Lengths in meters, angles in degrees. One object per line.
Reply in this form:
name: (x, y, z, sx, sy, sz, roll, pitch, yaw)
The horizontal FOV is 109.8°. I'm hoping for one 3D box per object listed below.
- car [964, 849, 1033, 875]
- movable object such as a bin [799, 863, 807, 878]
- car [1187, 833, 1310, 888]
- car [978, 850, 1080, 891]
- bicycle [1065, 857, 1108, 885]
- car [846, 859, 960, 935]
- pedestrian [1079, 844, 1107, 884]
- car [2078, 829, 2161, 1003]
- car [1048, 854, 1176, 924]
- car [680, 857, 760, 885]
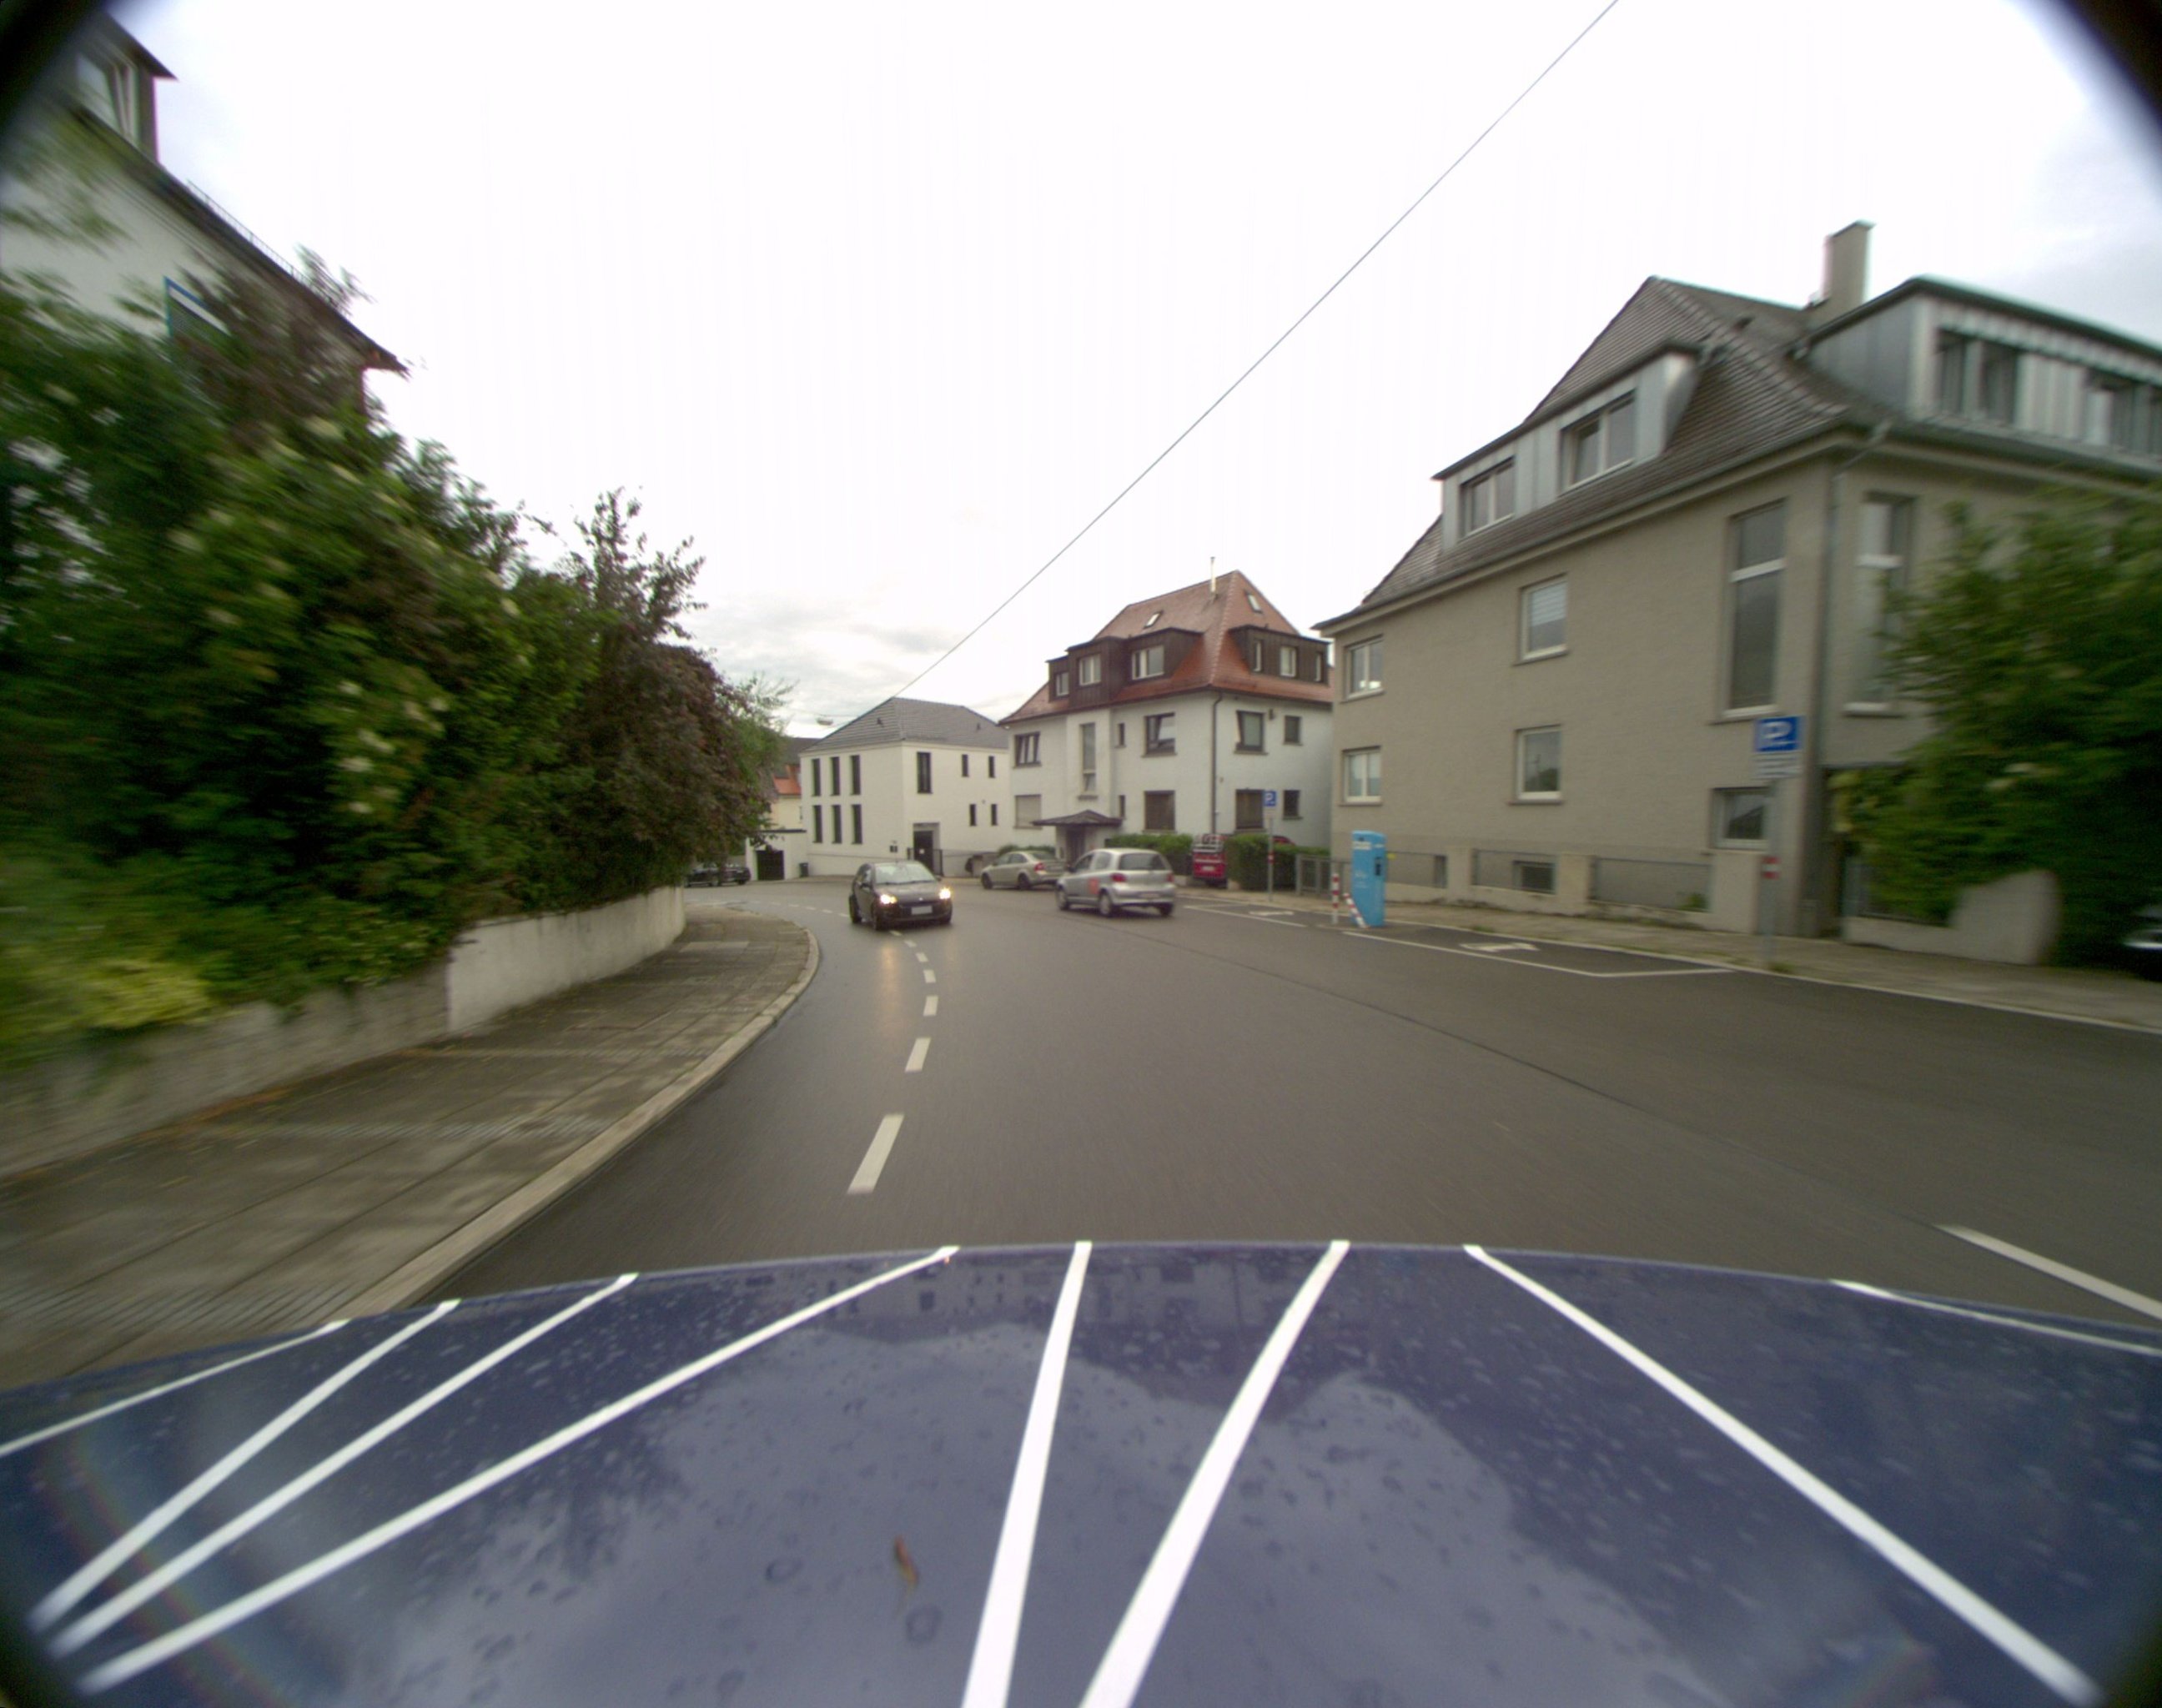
car: (-4.886, 0.488, 45.343, 1.737, 1.344, 4.010, 2, -1, 39)
movable object such as a bin: (-17.529, 1.053, 47.899, 0.282, 0.907, 0.372, -1, 1, 31)
car: (5.947, 0.258, 26.846, 4.007, 1.812, 1.995, 1, -1, -33)
car: (-2.110, 0.616, 29.619, 1.845, 1.417, 4.218, -3, 1, -39)
bicycle: (0.197, 0.662, 30.131, 0.458, 1.061, 1.916, -6, 3, -42)
car: (-4.187, 0.903, 17.476, 1.683, 1.405, 3.629, -6, 2, -26)
pedestrian: (0.500, 0.397, 30.705, 0.949, 1.568, 0.493, -6, 3, -43)
car: (12.396, 0.520, 6.995, 4.253, 1.614, 1.998, -3, 2, -6)
car: (0.607, 0.727, 17.882, 1.493, 1.415, 3.849, -1, 1, -23)
car: (-21.759, 1.038, 45.751, 4.978, 1.477, 1.837, -2, 2, 31)
